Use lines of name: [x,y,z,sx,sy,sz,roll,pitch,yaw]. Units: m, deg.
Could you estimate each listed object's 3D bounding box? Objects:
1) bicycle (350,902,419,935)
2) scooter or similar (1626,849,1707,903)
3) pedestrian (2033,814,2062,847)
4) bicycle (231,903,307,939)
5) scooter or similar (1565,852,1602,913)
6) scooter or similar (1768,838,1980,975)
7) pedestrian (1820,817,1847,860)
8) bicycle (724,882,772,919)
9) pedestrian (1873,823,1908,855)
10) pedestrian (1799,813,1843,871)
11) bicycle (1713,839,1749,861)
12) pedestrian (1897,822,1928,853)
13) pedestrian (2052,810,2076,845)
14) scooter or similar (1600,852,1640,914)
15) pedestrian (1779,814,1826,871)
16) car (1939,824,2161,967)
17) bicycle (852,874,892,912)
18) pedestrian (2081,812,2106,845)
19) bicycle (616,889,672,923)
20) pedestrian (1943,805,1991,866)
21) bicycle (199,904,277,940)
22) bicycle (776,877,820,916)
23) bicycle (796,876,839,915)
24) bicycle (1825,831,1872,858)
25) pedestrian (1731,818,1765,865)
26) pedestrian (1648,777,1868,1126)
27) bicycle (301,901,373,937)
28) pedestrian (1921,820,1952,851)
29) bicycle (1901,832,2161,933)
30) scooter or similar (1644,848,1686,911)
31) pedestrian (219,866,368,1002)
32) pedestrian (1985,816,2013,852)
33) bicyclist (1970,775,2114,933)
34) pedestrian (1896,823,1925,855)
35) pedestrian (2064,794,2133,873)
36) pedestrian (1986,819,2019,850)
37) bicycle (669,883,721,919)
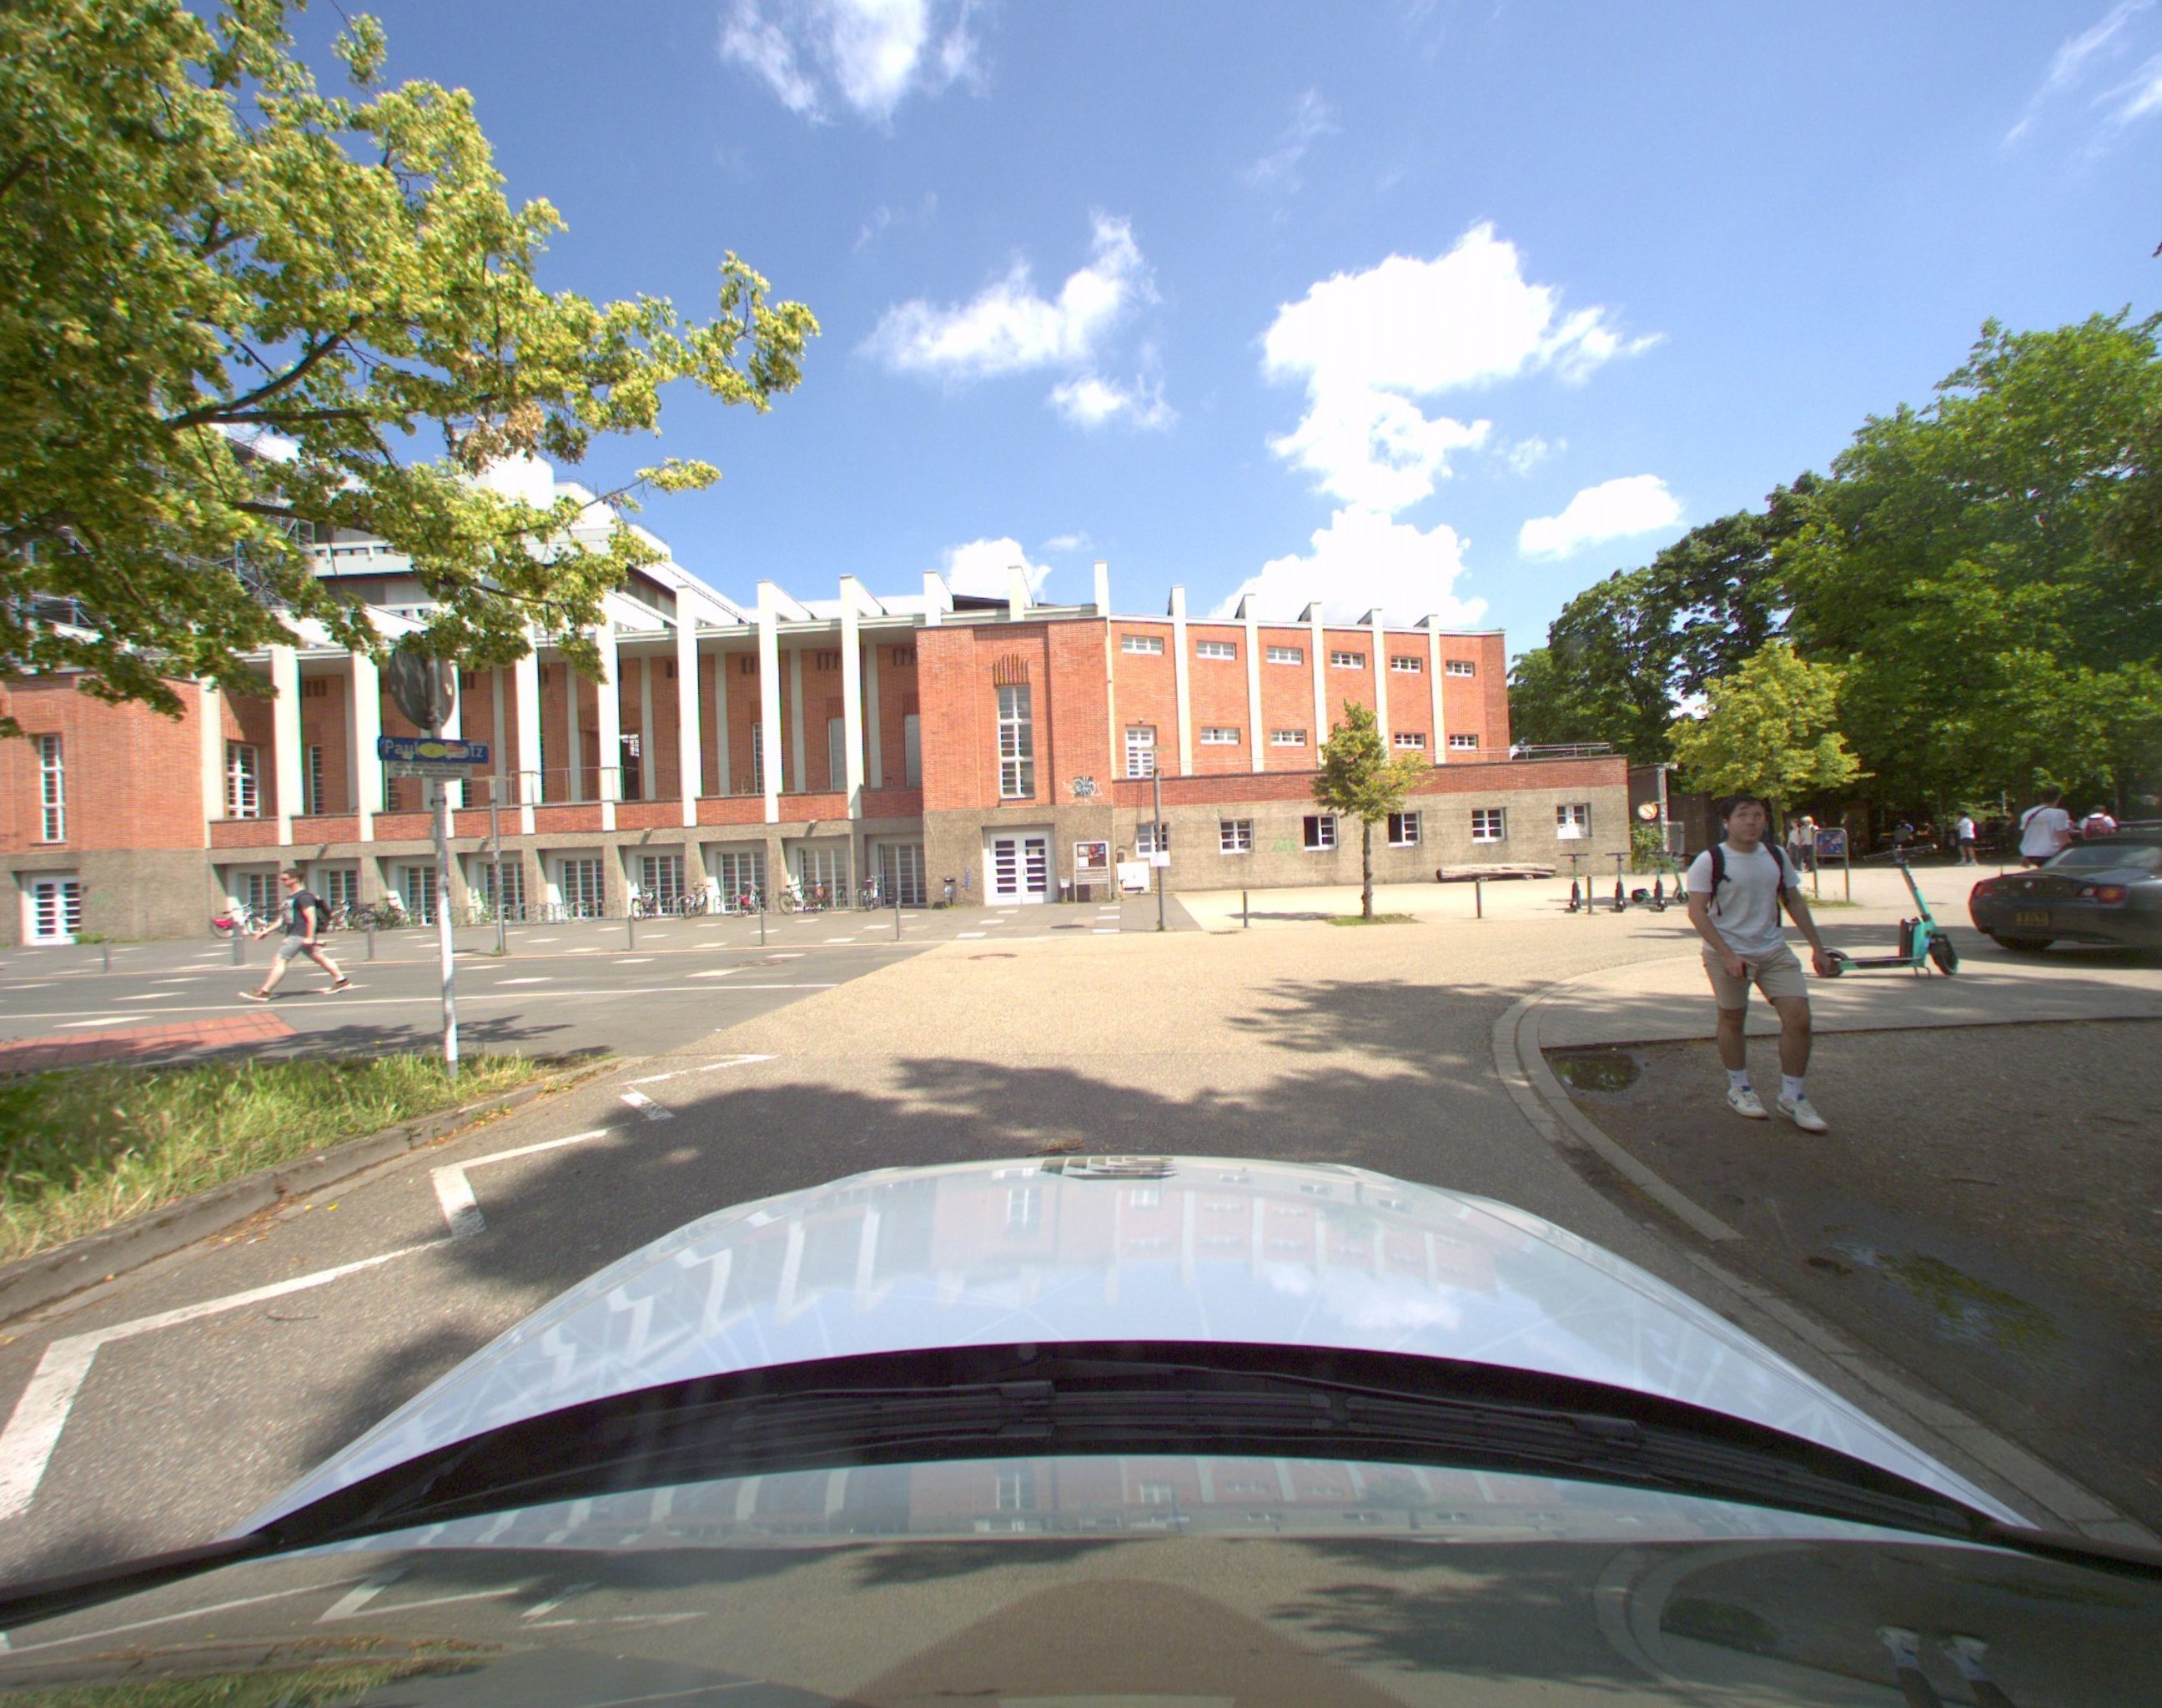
bicycle: [-23.559,2.155,27.581,0.565,0.940,1.958,-3,0,2]
scooter or similar: [13.217,0.496,18.405,1.335,1.149,0.567,-2,0,14]
pedestrian: [37.750,-0.925,31.804,0.745,1.233,0.589,-5,1,-32]
bicycle: [-27.388,2.253,27.509,0.515,1.030,1.958,-3,0,2]
scooter or similar: [10.697,0.585,17.361,0.563,1.225,1.585,-2,0,30]
scooter or similar: [7.672,0.506,7.935,1.368,1.254,0.556,-2,0,11]
pedestrian: [29.636,-0.591,32.067,0.505,1.650,0.671,-4,1,-36]
bicycle: [-10.906,1.500,26.747,0.617,1.082,2.017,-3,0,2]
pedestrian: [35.062,-0.641,35.285,0.772,1.323,0.690,-3,-1,4]
pedestrian: [23.157,-0.371,25.501,0.800,1.762,0.565,-2,0,2]
bicycle: [27.703,-0.171,34.716,1.222,0.883,0.305,-2,0,4]
pedestrian: [35.005,-0.709,34.286,0.688,1.271,0.562,-3,0,3]
pedestrian: [44.137,-1.172,36.566,0.472,1.522,0.505,-3,0,-8]
scooter or similar: [11.329,0.584,17.144,0.558,1.225,1.585,-2,0,30]
pedestrian: [23.130,-0.358,26.123,0.911,1.779,0.578,-2,0,2]
car: [11.753,0.321,8.342,3.970,1.280,1.715,-3,0,3]
bicycle: [-6.799,1.244,26.543,0.662,1.125,2.029,-3,0,2]
pedestrian: [44.234,-1.121,35.576,0.458,1.422,0.506,-3,0,-7]
bicycle: [-14.474,1.705,27.030,0.680,0.960,1.958,-3,0,2]
pedestrian: [26.996,-0.539,24.821,0.869,1.820,0.452,-1,-1,30]
bicycle: [-28.403,2.288,27.483,0.538,1.030,1.958,-3,0,2]
bicycle: [-9.268,1.378,26.757,0.435,1.125,2.032,-3,1,7]
bicycle: [-8.613,1.340,26.691,0.588,1.125,2.030,-3,0,4]
bicycle: [31.081,-0.385,32.977,0.419,1.077,1.334,0,-1,-41]
pedestrian: [24.907,-0.451,30.422,0.869,1.720,0.492,-1,-1,30]
pedestrian: [3.621,0.498,4.411,0.637,1.745,0.583,-3,0,5]
bicycle: [-24.996,2.164,27.396,0.526,1.030,1.958,-3,0,2]
pedestrian: [35.968,-0.787,34.240,0.688,1.271,0.562,-3,0,3]
bicycle: [12.876,0.368,11.001,2.733,1.199,0.884,-2,0,-2]
scooter or similar: [12.101,0.506,16.906,0.517,1.225,1.585,-2,0,30]
pedestrian: [-11.086,1.098,11.492,1.009,1.800,1.178,-4,-3,22]
pedestrian: [36.867,-0.811,32.693,0.706,1.369,0.589,-5,1,-32]
bicyclist: [12.944,-0.003,11.002,0.844,2.013,0.876,-2,0,-1]
pedestrian: [36.065,-0.647,35.421,0.555,1.323,0.647,-3,-1,4]
pedestrian: [24.590,-0.487,19.685,0.880,1.835,0.846,-5,1,-28]
pedestrian: [39.083,-0.822,34.549,0.764,1.250,0.569,-3,0,-9]
bicycle: [-12.737,1.529,26.923,0.658,1.061,2.029,-3,0,2]
